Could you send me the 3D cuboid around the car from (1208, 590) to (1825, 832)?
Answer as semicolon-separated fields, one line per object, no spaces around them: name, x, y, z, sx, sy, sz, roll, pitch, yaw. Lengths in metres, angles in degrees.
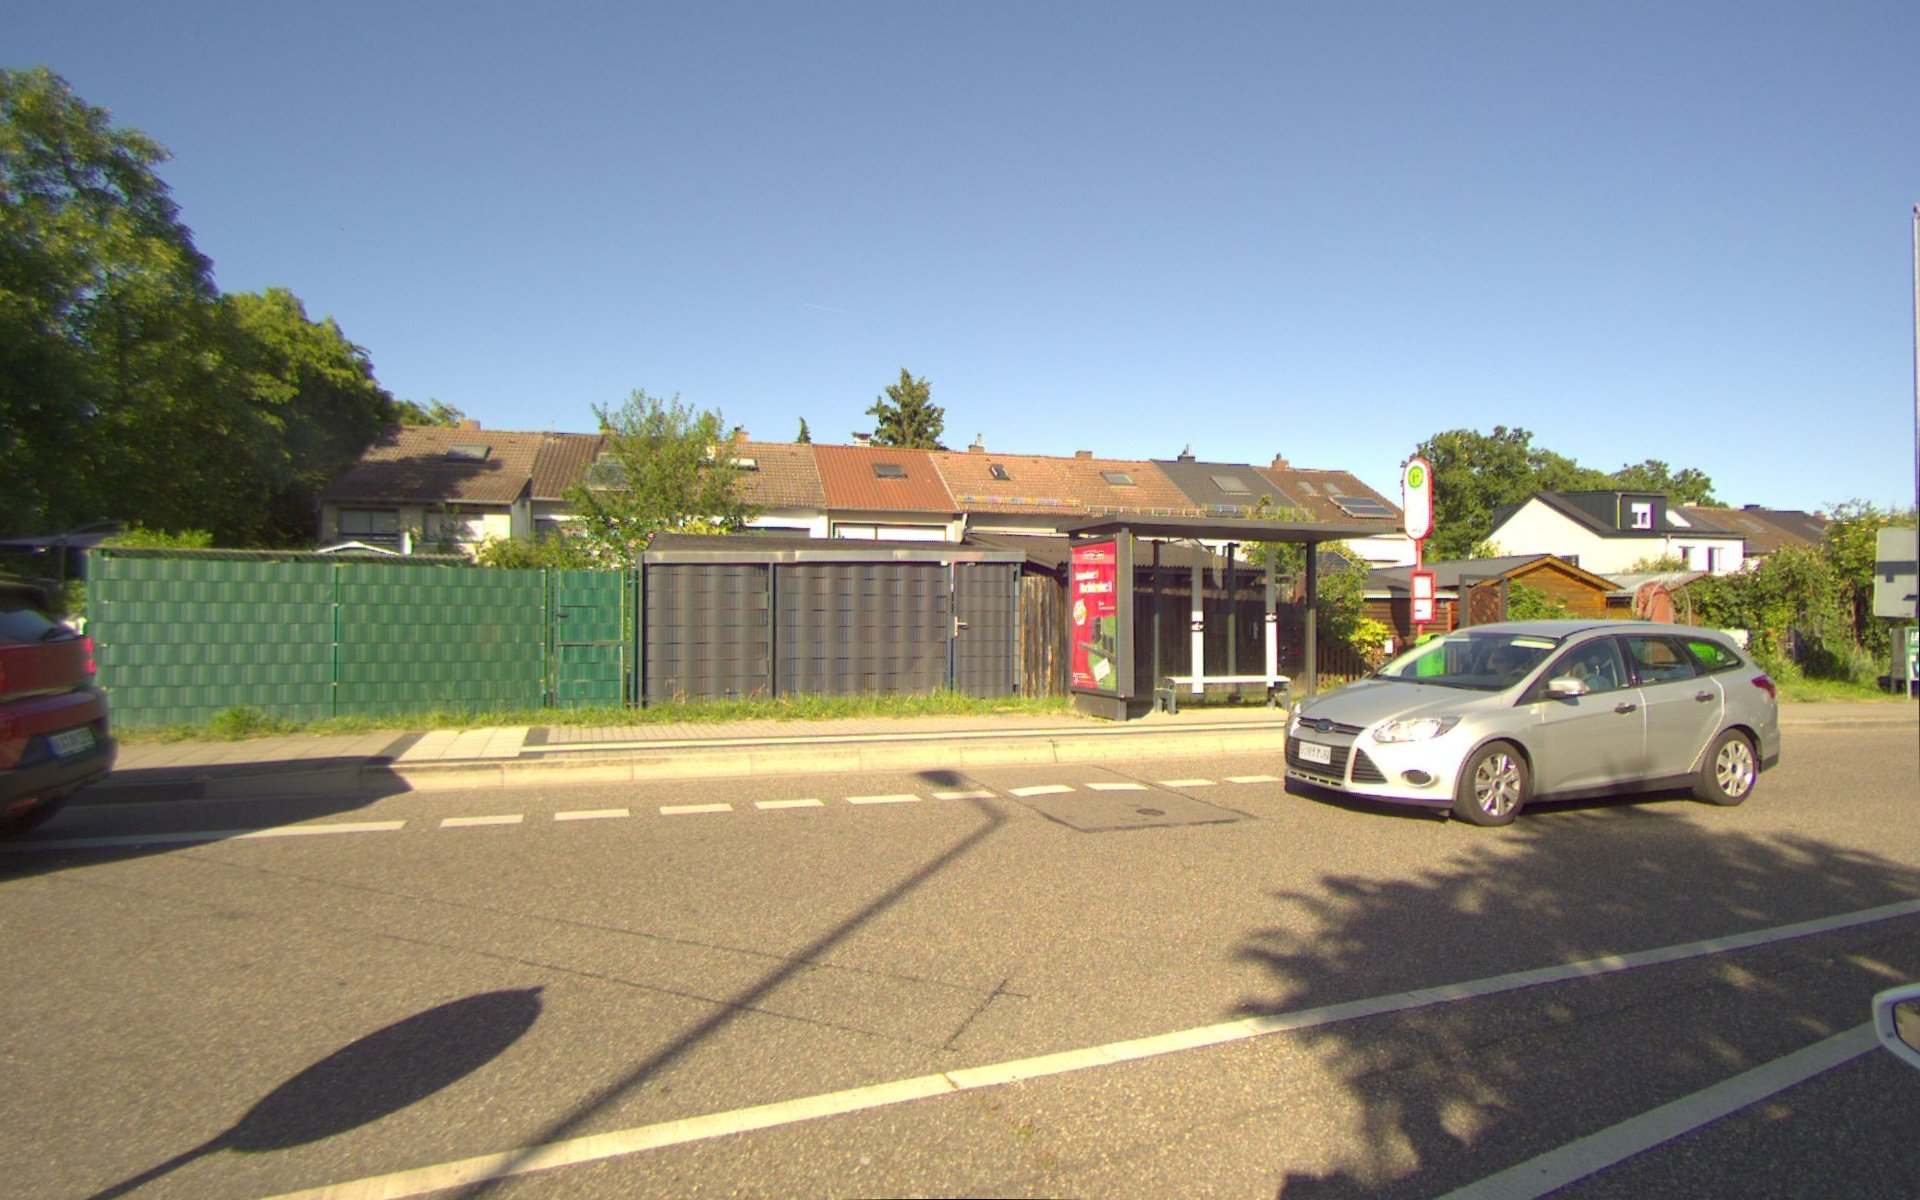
car;4.635;0.800;8.510;4.465;1.612;2.207;1;-1;-20

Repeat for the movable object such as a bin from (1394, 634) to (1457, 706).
movable object such as a bin;6.865;1.020;14.816;0.550;0.981;0.591;1;3;-21

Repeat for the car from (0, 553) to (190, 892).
car;-6.676;0.572;4.980;4.119;1.609;1.936;1;-1;-22
